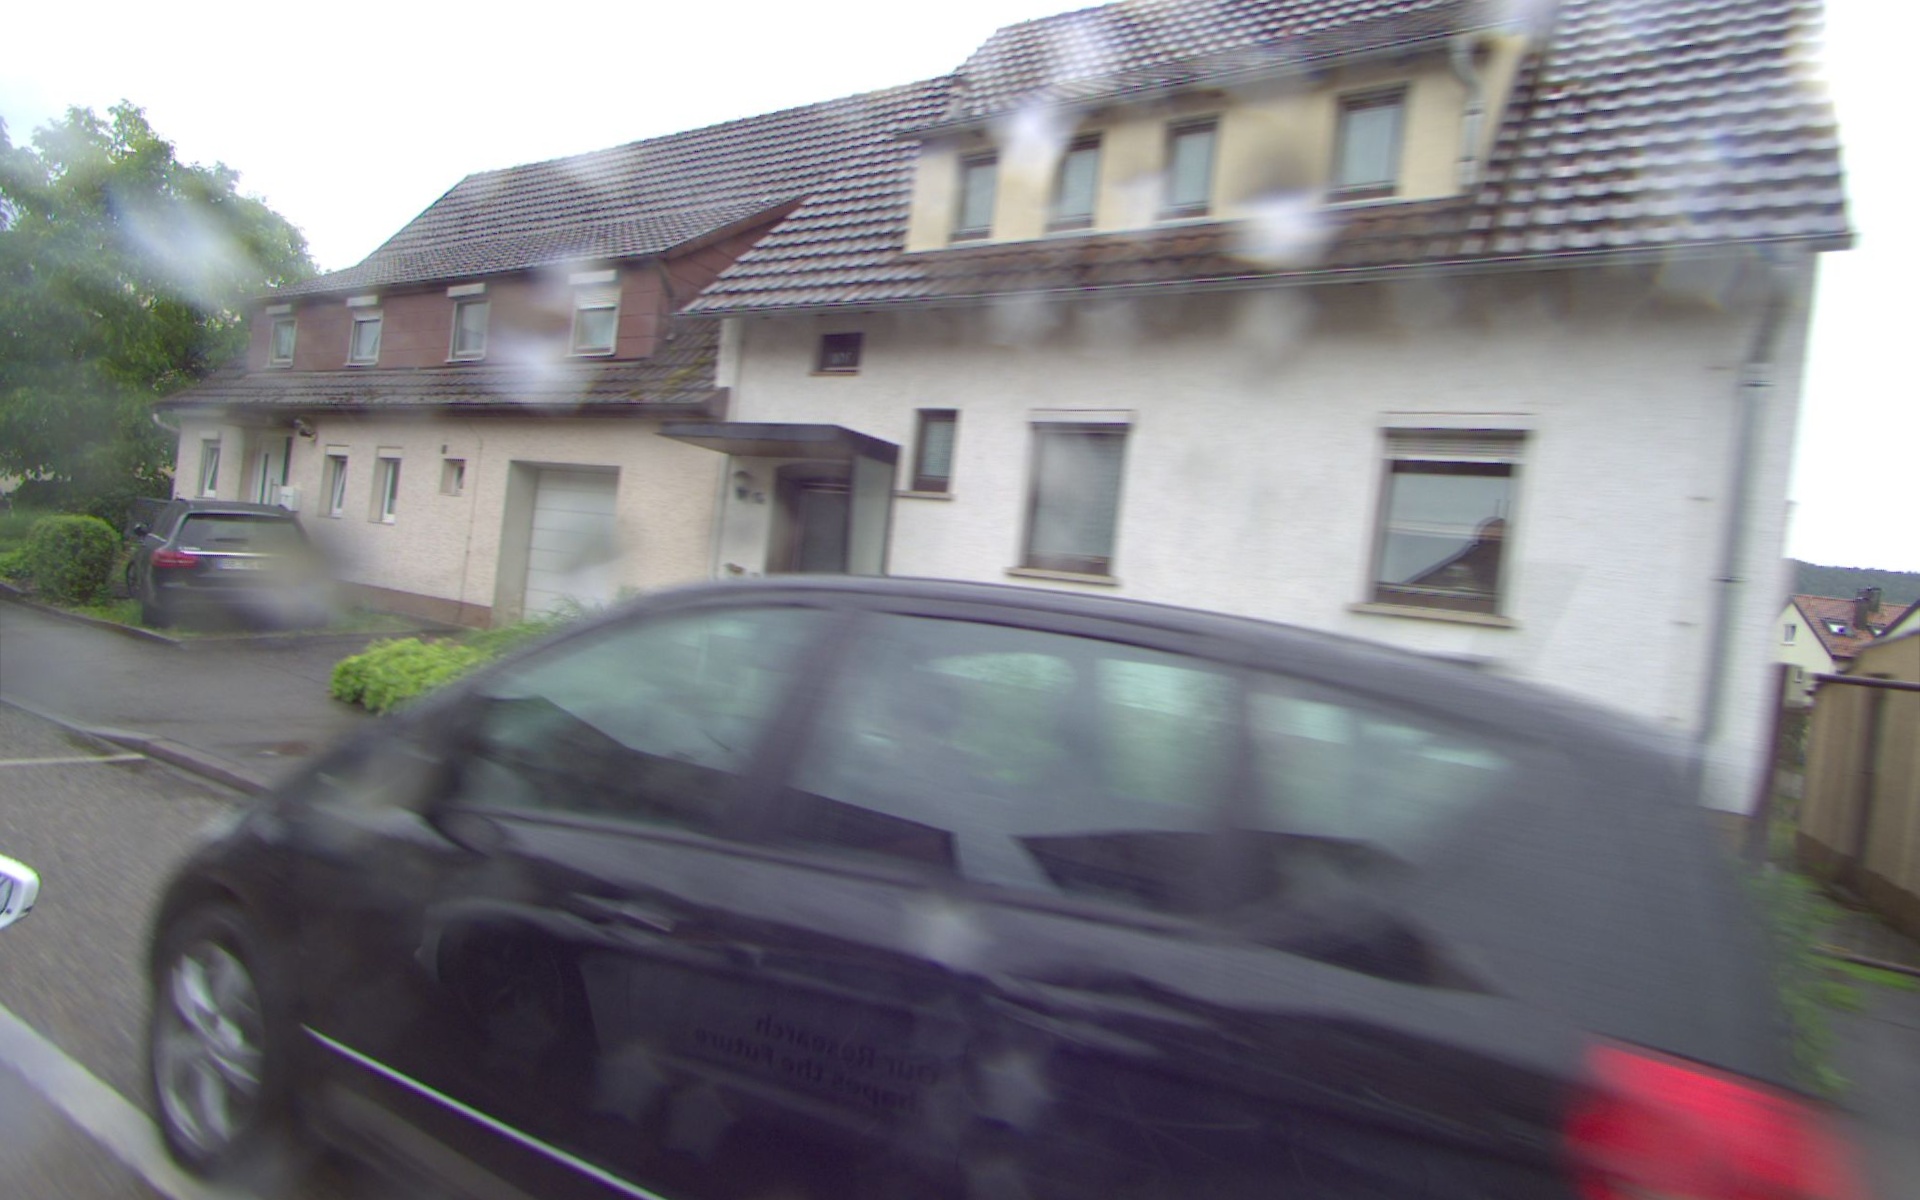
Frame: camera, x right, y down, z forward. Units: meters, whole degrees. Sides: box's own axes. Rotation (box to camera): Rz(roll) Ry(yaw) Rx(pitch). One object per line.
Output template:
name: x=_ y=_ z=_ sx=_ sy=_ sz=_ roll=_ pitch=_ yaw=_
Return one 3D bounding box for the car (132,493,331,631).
car: x=-9.107 y=-0.553 z=12.502 sx=1.747 sy=1.414 sz=3.955 roll=0 pitch=5 yaw=-39

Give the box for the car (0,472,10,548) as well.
car: x=-20.245 y=-1.940 z=19.632 sx=3.618 sy=1.447 sz=1.639 roll=6 pitch=0 yaw=34

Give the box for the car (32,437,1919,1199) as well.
car: x=-0.233 y=0.685 z=2.475 sx=3.931 sy=1.731 sz=1.753 roll=6 pitch=0 yaw=29
